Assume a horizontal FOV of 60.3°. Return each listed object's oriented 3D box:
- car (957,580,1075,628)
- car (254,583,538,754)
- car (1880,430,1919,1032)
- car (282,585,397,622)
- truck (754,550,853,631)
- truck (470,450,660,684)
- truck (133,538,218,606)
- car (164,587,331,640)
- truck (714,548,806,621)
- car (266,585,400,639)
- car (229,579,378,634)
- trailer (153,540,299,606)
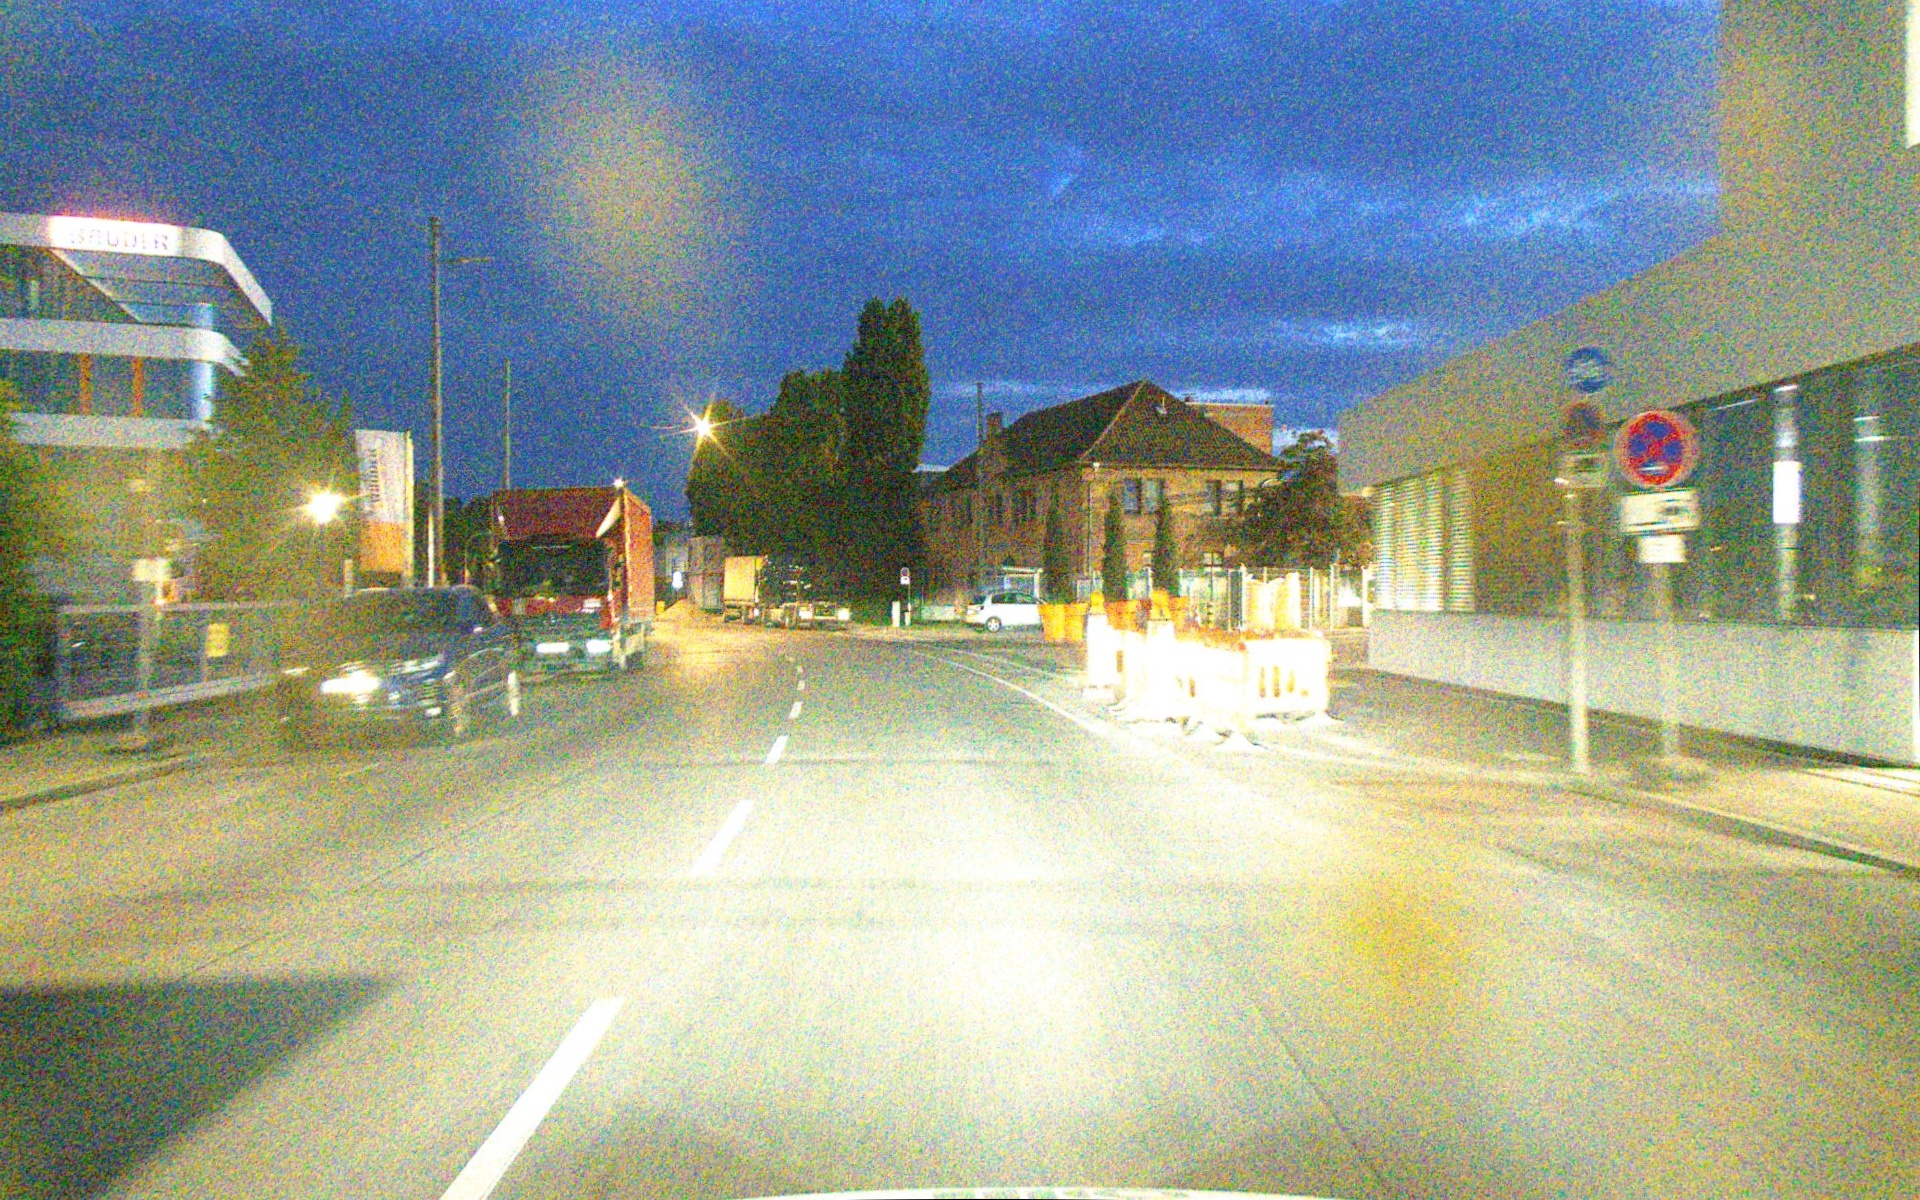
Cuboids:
[{"bbox_3d":[2.240,0.143,65.795,4.266,1.674,1.880,-3,2,-22],"label":"car"},{"bbox_3d":[-6.495,0.686,19.712,1.905,1.747,5.194,0,0,-4],"label":"car"},{"bbox_3d":[4.252,0.451,3.395,1.953,2.049,4.911,-1,0,-1],"label":"car"},{"bbox_3d":[-25.730,0.142,68.683,4.334,1.504,1.842,0,0,-17],"label":"car"},{"bbox_3d":[-7.942,-0.480,82.739,2.715,3.849,9.082,-1,0,-20],"label":"truck"},{"bbox_3d":[-7.947,-0.626,34.408,2.719,4.192,9.327,0,0,-7],"label":"truck"},{"bbox_3d":[-50.673,-1.774,106.977,2.995,4.221,4.937,1,0,2],"label":"truck"},{"bbox_3d":[-21.104,0.385,49.177,4.334,1.508,1.884,0,0,-17],"label":"car"},{"bbox_3d":[-11.281,-0.858,92.357,2.715,3.849,10.162,-1,0,-21],"label":"truck"},{"bbox_3d":[-22.451,0.412,59.379,4.334,1.847,1.953,-1,0,-17],"label":"car"},{"bbox_3d":[-22.311,0.203,56.385,4.533,1.847,1.953,0,0,-17],"label":"car"},{"bbox_3d":[-50.460,-1.743,114.454,2.994,4.221,15.006,1,0,2],"label":"trailer"}]
